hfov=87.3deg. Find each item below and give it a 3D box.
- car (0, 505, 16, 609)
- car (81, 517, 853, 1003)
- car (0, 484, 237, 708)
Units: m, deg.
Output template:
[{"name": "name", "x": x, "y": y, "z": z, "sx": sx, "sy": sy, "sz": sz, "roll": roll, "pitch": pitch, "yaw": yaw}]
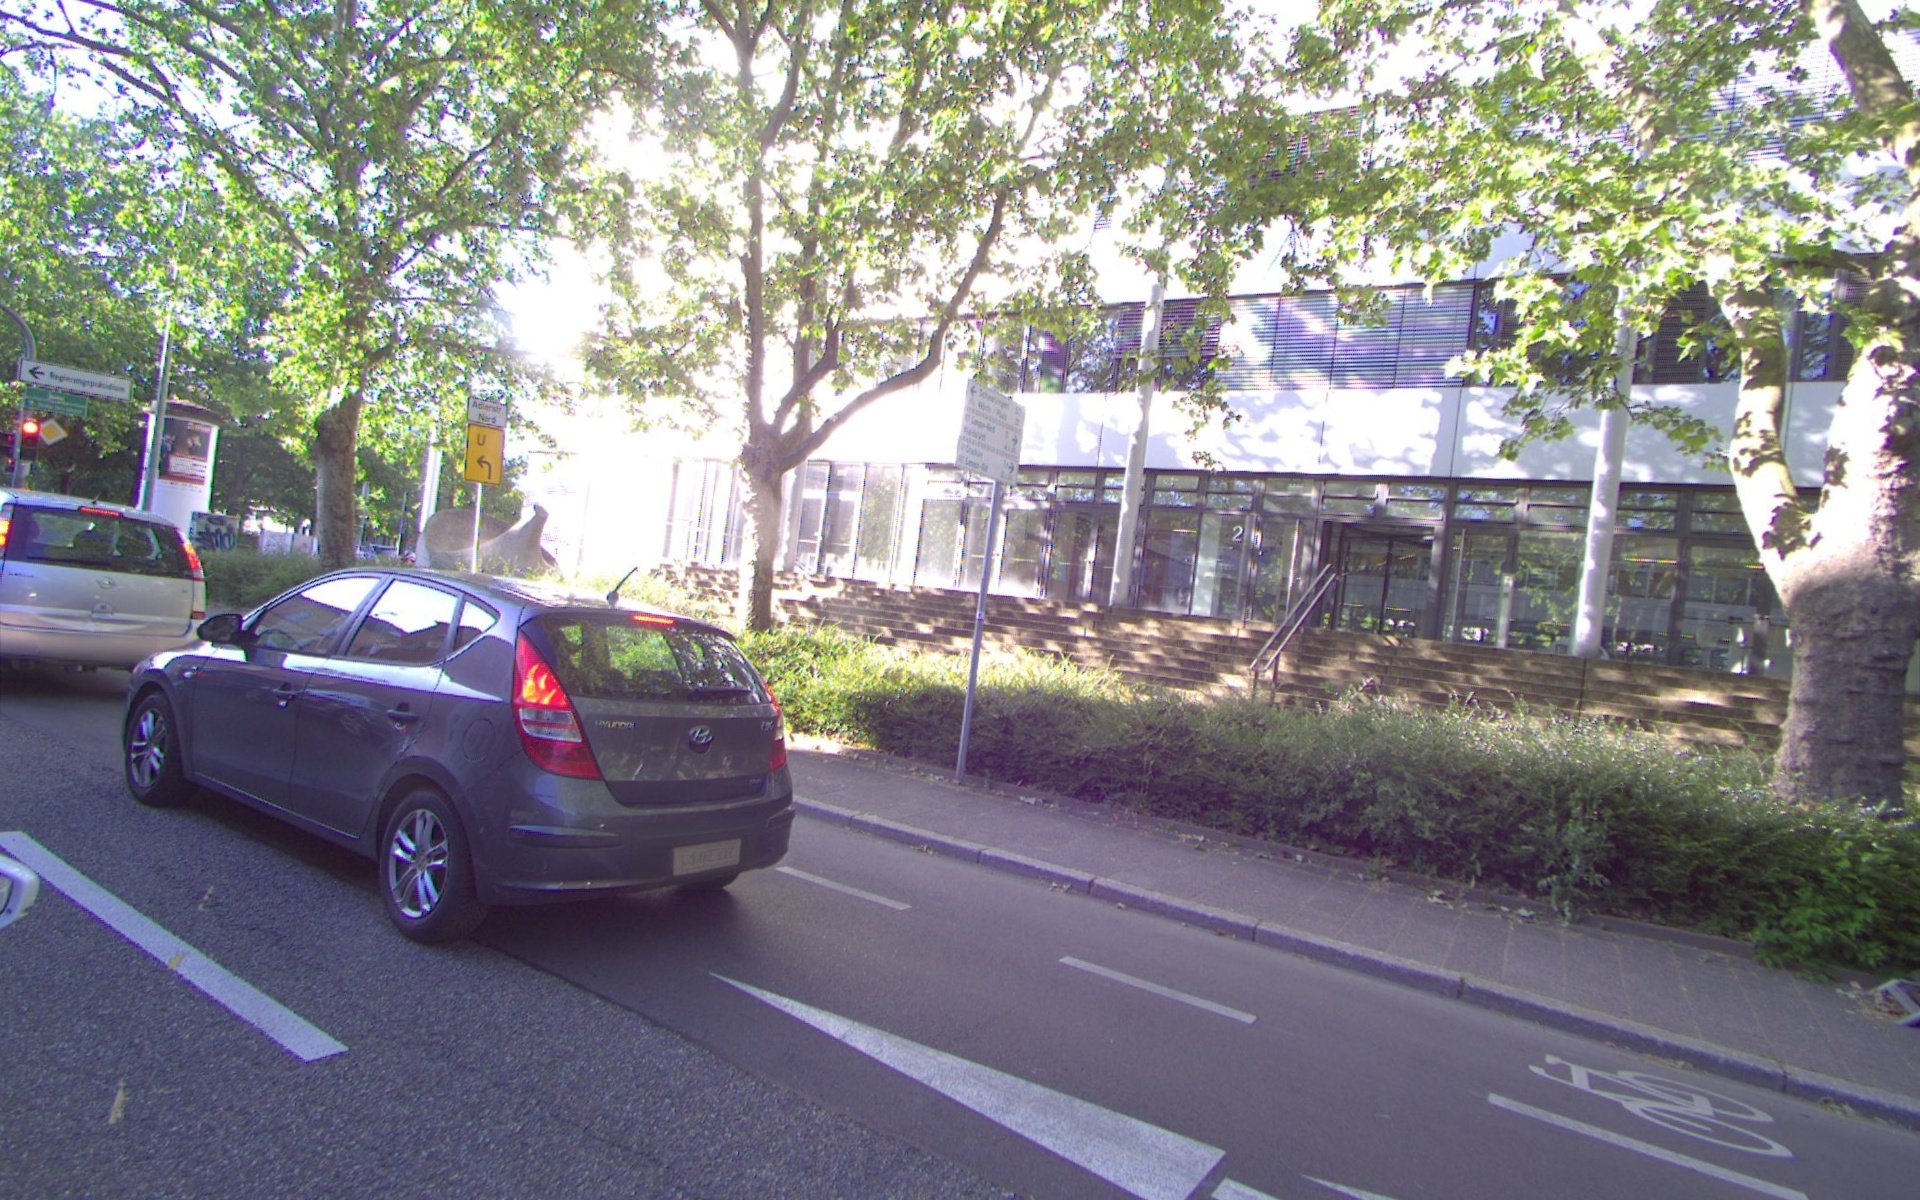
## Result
[{"name": "car", "x": -14.002, "y": -0.730, "z": 12.611, "sx": 4.592, "sy": 1.481, "sz": 1.917, "roll": 7, "pitch": -2, "yaw": 32}, {"name": "car", "x": -2.696, "y": 0.571, "z": 5.262, "sx": 3.910, "sy": 1.498, "sz": 1.648, "roll": 7, "pitch": -3, "yaw": 32}, {"name": "car", "x": -8.403, "y": -0.153, "z": 9.046, "sx": 3.797, "sy": 1.620, "sz": 1.705, "roll": 7, "pitch": -3, "yaw": 34}]
